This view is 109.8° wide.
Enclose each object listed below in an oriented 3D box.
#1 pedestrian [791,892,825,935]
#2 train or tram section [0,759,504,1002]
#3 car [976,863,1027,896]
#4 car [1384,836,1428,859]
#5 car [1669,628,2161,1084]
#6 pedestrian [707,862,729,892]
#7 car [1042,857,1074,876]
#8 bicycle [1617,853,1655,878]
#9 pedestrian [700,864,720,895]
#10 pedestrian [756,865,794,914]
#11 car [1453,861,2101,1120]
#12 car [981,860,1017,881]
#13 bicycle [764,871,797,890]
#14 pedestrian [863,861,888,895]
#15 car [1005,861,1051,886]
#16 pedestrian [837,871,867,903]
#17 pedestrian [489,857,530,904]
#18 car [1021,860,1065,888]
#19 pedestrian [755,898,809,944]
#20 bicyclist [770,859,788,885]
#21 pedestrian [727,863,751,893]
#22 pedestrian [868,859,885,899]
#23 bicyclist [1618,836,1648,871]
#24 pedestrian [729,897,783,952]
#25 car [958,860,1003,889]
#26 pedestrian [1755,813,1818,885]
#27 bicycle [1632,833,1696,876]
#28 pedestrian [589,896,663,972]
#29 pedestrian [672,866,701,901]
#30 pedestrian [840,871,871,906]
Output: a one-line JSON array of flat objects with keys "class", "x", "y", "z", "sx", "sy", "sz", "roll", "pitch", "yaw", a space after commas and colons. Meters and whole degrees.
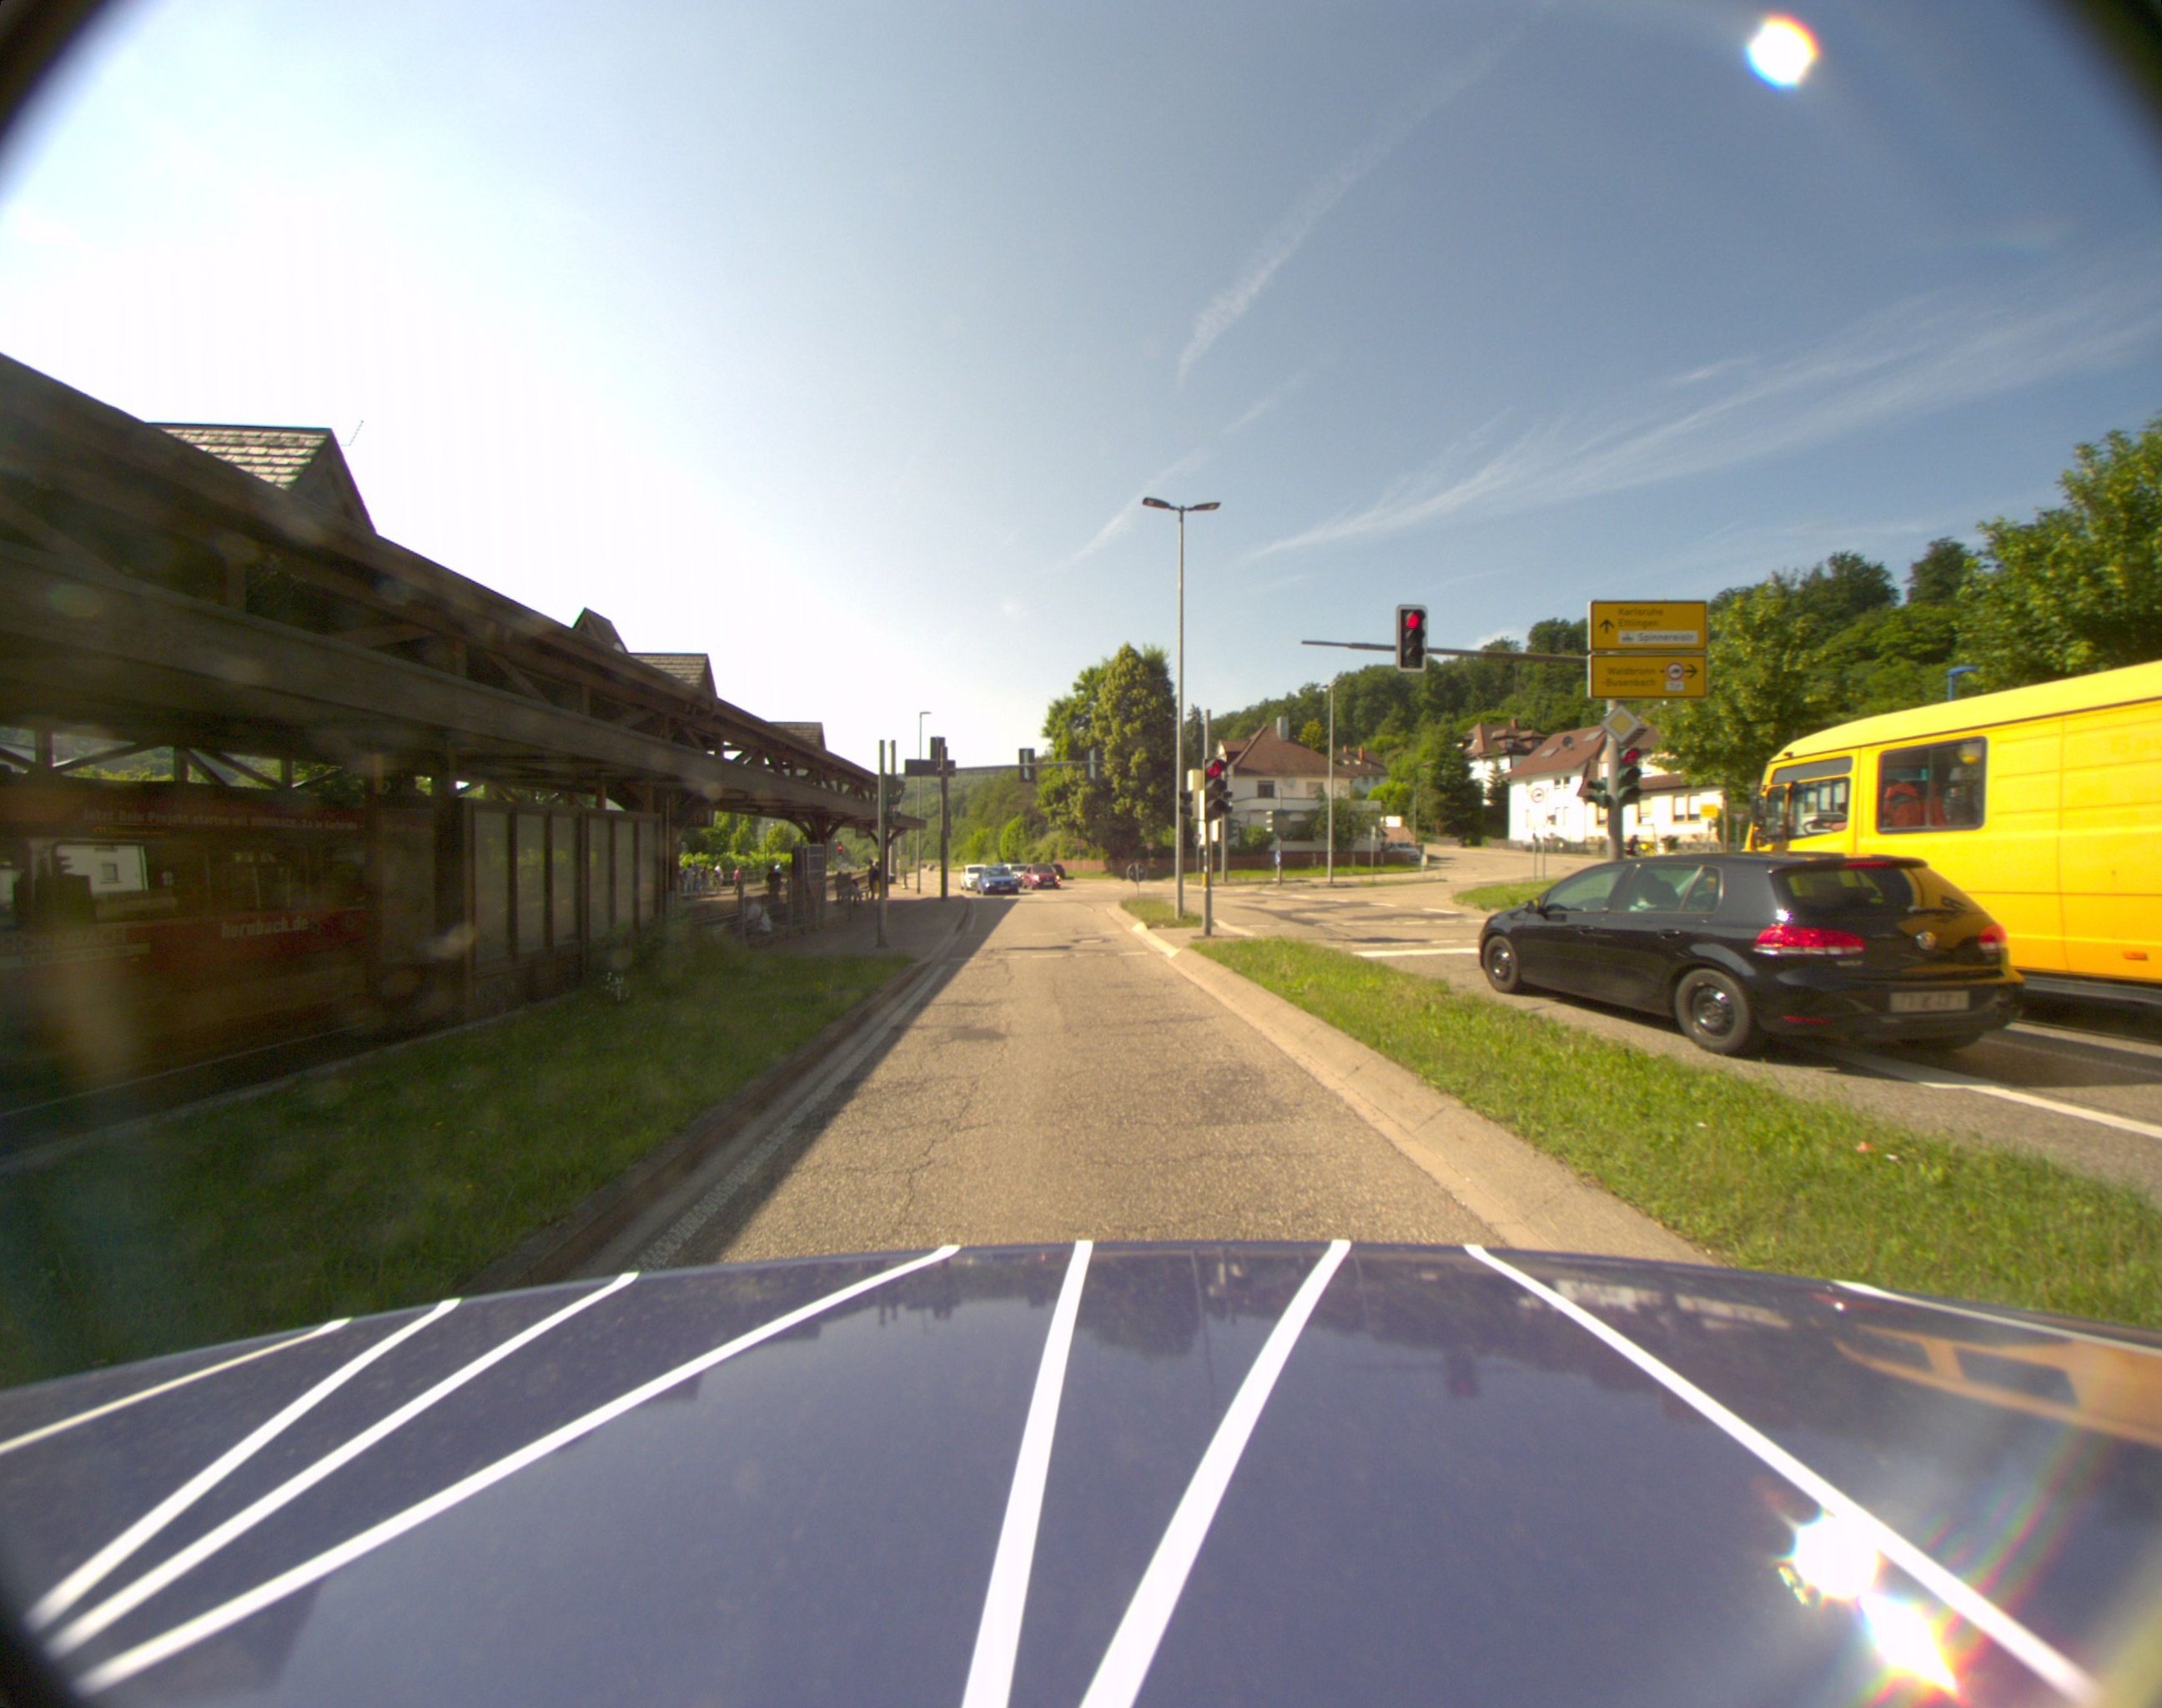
[{"class": "pedestrian", "x": -6.392, "y": 1.388, "z": 17.818, "sx": 0.619, "sy": 0.960, "sz": 0.406, "roll": -3, "pitch": -1, "yaw": -6}, {"class": "train or tram section", "x": -16.497, "y": 0.411, "z": 13.147, "sx": 2.864, "sy": 3.345, "sz": 14.348, "roll": -2, "pitch": 0, "yaw": -4}, {"class": "car", "x": -4.036, "y": 1.221, "z": 37.881, "sx": 1.867, "sy": 1.474, "sz": 4.296, "roll": -1, "pitch": 0, "yaw": -15}, {"class": "car", "x": 26.342, "y": -0.480, "z": 61.735, "sx": 1.939, "sy": 1.627, "sz": 4.001, "roll": -3, "pitch": -1, "yaw": 2}, {"class": "car", "x": 8.281, "y": -0.029, "z": 5.692, "sx": 2.474, "sy": 2.993, "sz": 6.464, "roll": -3, "pitch": 0, "yaw": -2}, {"class": "pedestrian", "x": -21.260, "y": 1.356, "z": 44.568, "sx": 0.868, "sy": 1.674, "sz": 0.822, "roll": -3, "pitch": -1, "yaw": -6}, {"class": "car", "x": -1.989, "y": 1.116, "z": 65.343, "sx": 2.000, "sy": 1.499, "sz": 3.997, "roll": -3, "pitch": -1, "yaw": -12}, {"class": "bicycle", "x": 27.751, "y": 0.569, "z": 38.006, "sx": 2.003, "sy": 1.155, "sz": 0.733, "roll": -2, "pitch": -1, "yaw": -30}, {"class": "pedestrian", "x": -20.710, "y": 1.422, "z": 42.418, "sx": 0.905, "sy": 1.674, "sz": 0.821, "roll": -3, "pitch": -1, "yaw": -22}, {"class": "pedestrian", "x": -9.925, "y": 1.132, "z": 24.672, "sx": 0.863, "sy": 1.538, "sz": 0.922, "roll": -1, "pitch": -1, "yaw": -5}, {"class": "car", "x": 5.117, "y": 0.820, "z": 6.503, "sx": 1.750, "sy": 1.454, "sz": 4.043, "roll": -1, "pitch": 0, "yaw": -2}, {"class": "car", "x": -6.290, "y": 1.284, "z": 57.897, "sx": 1.982, "sy": 1.495, "sz": 3.982, "roll": -2, "pitch": -1, "yaw": -17}, {"class": "bicycle", "x": -18.527, "y": 1.653, "z": 46.792, "sx": 1.816, "sy": 1.049, "sz": 0.603, "roll": -3, "pitch": 1, "yaw": -24}, {"class": "pedestrian", "x": -10.786, "y": 1.272, "z": 39.864, "sx": 0.918, "sy": 1.726, "sz": 1.249, "roll": -3, "pitch": -1, "yaw": -27}, {"class": "car", "x": -3.520, "y": 1.286, "z": 49.571, "sx": 1.982, "sy": 1.495, "sz": 4.745, "roll": -2, "pitch": -1, "yaw": -17}, {"class": "pedestrian", "x": -8.835, "y": 1.253, "z": 29.333, "sx": 1.010, "sy": 1.153, "sz": 0.948, "roll": -2, "pitch": 1, "yaw": -13}, {"class": "pedestrian", "x": -20.844, "y": 0.965, "z": 27.744, "sx": 0.736, "sy": 1.674, "sz": 0.904, "roll": -3, "pitch": -1, "yaw": 0}, {"class": "car", "x": -2.247, "y": 1.145, "z": 43.816, "sx": 1.663, "sy": 1.525, "sz": 3.950, "roll": -1, "pitch": -1, "yaw": -15}, {"class": "pedestrian", "x": -6.333, "y": 1.407, "z": 16.141, "sx": 0.847, "sy": 0.869, "sz": 0.807, "roll": -3, "pitch": -1, "yaw": -6}, {"class": "bicyclist", "x": -18.582, "y": 1.108, "z": 46.754, "sx": 0.948, "sy": 1.559, "sz": 0.786, "roll": -3, "pitch": 1, "yaw": -24}, {"class": "pedestrian", "x": -20.143, "y": 1.409, "z": 44.759, "sx": 0.902, "sy": 1.674, "sz": 0.824, "roll": -3, "pitch": -1, "yaw": 26}, {"class": "pedestrian", "x": -8.617, "y": 1.043, "z": 32.023, "sx": 0.659, "sy": 1.682, "sz": 0.738, "roll": -1, "pitch": 0, "yaw": -13}, {"class": "bicyclist", "x": 27.559, "y": -0.010, "z": 37.929, "sx": 0.994, "sy": 1.681, "sz": 0.805, "roll": -3, "pitch": -1, "yaw": -30}, {"class": "pedestrian", "x": -6.299, "y": 1.352, "z": 14.761, "sx": 0.744, "sy": 0.976, "sz": 0.769, "roll": -3, "pitch": -1, "yaw": -6}, {"class": "car", "x": -6.100, "y": 1.208, "z": 45.635, "sx": 2.001, "sy": 1.575, "sz": 3.995, "roll": -3, "pitch": 0, "yaw": -17}, {"class": "pedestrian", "x": 16.986, "y": -0.112, "z": 18.309, "sx": 0.713, "sy": 1.667, "sz": 0.741, "roll": -3, "pitch": -1, "yaw": -4}, {"class": "bicycle", "x": 18.506, "y": 0.033, "z": 24.171, "sx": 0.620, "sy": 1.247, "sz": 1.758, "roll": -6, "pitch": -2, "yaw": 2}, {"class": "pedestrian", "x": -7.213, "y": 1.257, "z": 12.071, "sx": 0.744, "sy": 1.110, "sz": 0.667, "roll": -3, "pitch": -1, "yaw": -6}, {"class": "pedestrian", "x": -21.481, "y": 1.589, "z": 41.383, "sx": 0.989, "sy": 1.831, "sz": 1.074, "roll": -2, "pitch": -1, "yaw": 0}, {"class": "pedestrian", "x": -8.348, "y": 1.267, "z": 28.178, "sx": 0.994, "sy": 1.228, "sz": 0.596, "roll": -3, "pitch": -1, "yaw": -13}]
